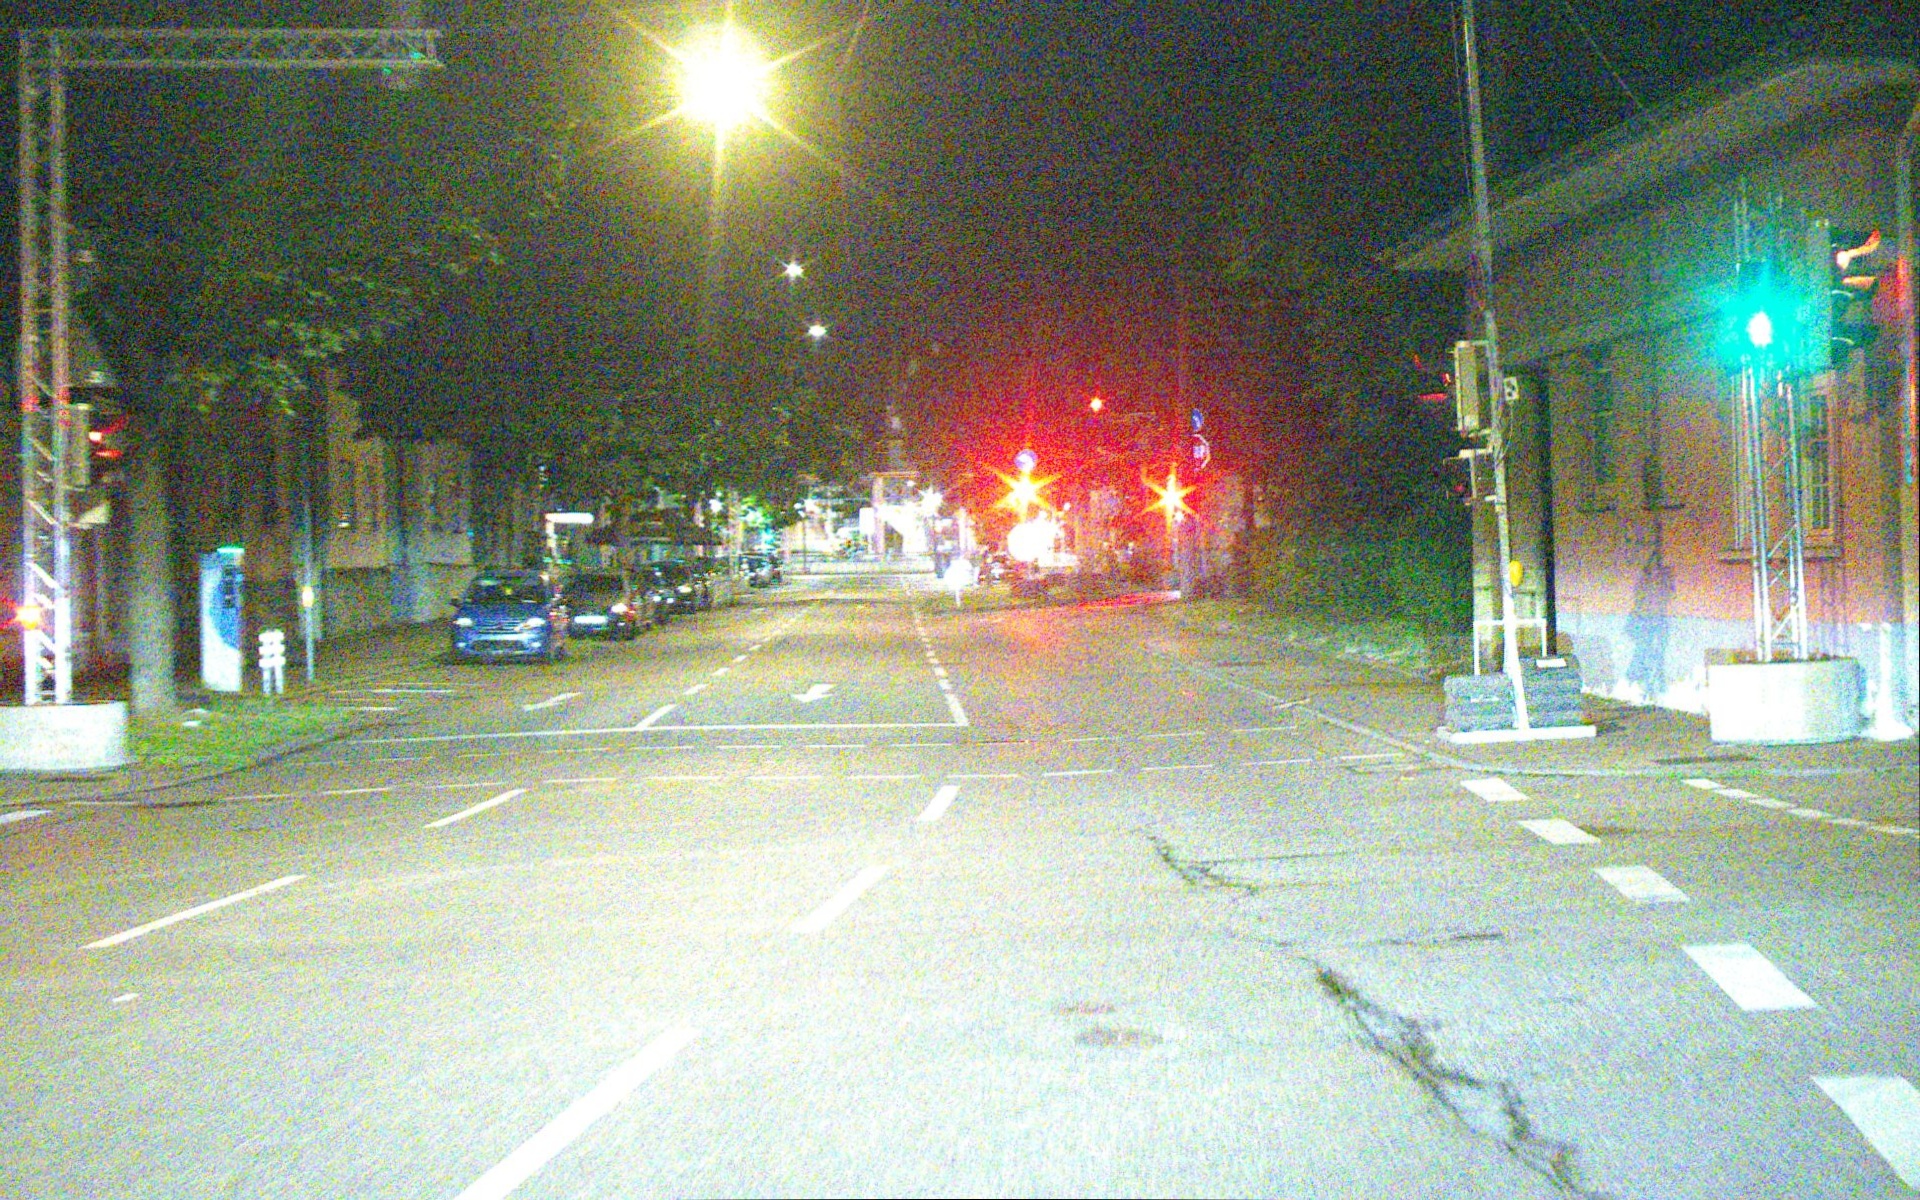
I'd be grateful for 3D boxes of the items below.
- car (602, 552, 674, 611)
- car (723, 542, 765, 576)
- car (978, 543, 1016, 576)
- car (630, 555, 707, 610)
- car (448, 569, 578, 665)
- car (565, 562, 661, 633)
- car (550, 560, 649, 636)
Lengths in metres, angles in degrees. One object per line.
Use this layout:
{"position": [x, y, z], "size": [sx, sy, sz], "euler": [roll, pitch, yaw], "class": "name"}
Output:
{"position": [-8.059, -0.486, 86.276], "size": [1.622, 1.378, 4.452], "euler": [-2, 1, -4], "class": "car"}
{"position": [-9.729, -1.864, 155.101], "size": [1.651, 1.426, 4.000], "euler": [-2, 1, -1], "class": "car"}
{"position": [1.676, -1.877, 157.857], "size": [1.651, 1.426, 4.000], "euler": [-2, 1, 0], "class": "car"}
{"position": [-8.409, -0.524, 99.438], "size": [1.899, 1.466, 4.452], "euler": [0, 1, -1], "class": "car"}
{"position": [-7.325, 0.298, 56.632], "size": [1.714, 1.489, 3.990], "euler": [-1, -1, -2], "class": "car"}
{"position": [-7.830, -0.083, 77.941], "size": [1.768, 1.480, 4.864], "euler": [-2, 1, -2], "class": "car"}
{"position": [-7.586, -0.074, 72.754], "size": [1.768, 1.480, 4.768], "euler": [-2, 1, -3], "class": "car"}
